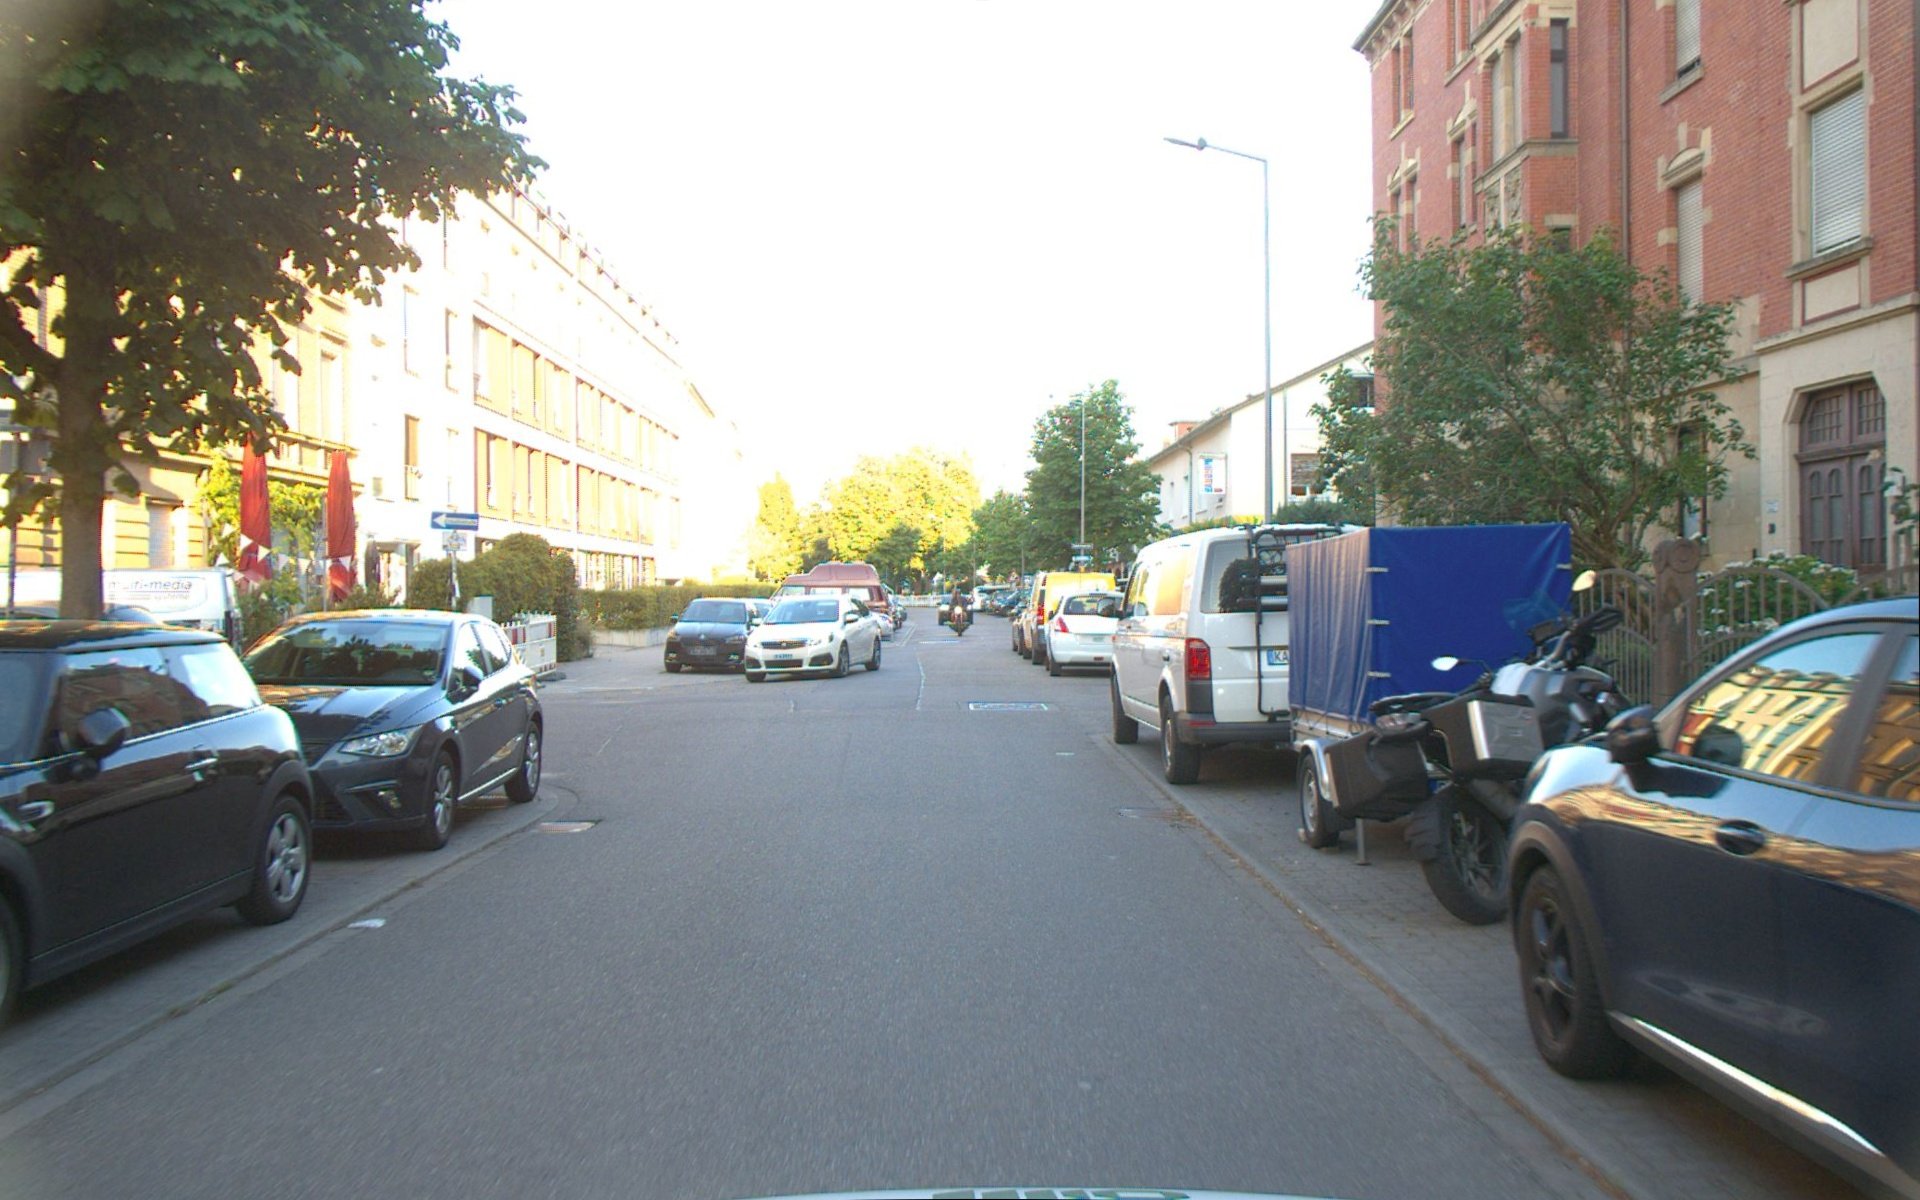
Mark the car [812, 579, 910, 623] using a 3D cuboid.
[{"bbox_3d":[-4.868,0.054,81.824,4.752,2.056,1.906,1,0,-1],"label":"car"}]

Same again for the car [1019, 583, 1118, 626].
[{"bbox_3d":[5.585,0.210,85.653,4.845,1.992,2.048,-2,0,-2],"label":"car"}]

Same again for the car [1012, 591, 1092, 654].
[{"bbox_3d":[2.235,0.520,41.253,1.686,1.449,4.252,1,0,-1],"label":"car"}]

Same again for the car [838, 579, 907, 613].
[{"bbox_3d":[-5.819,-0.270,110.318,4.441,2.171,2.000,1,0,-1],"label":"car"}]

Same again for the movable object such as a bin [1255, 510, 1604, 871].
[{"bbox_3d":[2.761,0.488,10.152,1.383,1.910,2.324,-2,0,-1],"label":"movable object such as a bin"}]

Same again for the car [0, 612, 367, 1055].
[{"bbox_3d":[-4.053,0.800,6.708,1.706,1.445,4.143,0,0,1],"label":"car"}]

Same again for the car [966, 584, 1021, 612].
[{"bbox_3d":[2.504,-0.156,123.640,3.891,1.945,2.047,-2,0,-5],"label":"car"}]

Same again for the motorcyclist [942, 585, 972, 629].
[{"bbox_3d":[-0.096,0.239,59.017,0.870,1.531,0.970,-3,0,9],"label":"motorcyclist"}]

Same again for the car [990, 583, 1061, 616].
[{"bbox_3d":[4.249,-0.046,108.062,4.392,1.945,1.686,-2,0,-6],"label":"car"}]

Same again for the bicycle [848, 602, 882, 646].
[{"bbox_3d":[-2.798,0.698,48.990,0.791,1.243,2.865,1,0,1],"label":"bicycle"}]

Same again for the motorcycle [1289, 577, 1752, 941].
[{"bbox_3d":[2.778,0.684,8.150,2.070,1.508,1.120,-2,0,-35],"label":"motorcycle"}]

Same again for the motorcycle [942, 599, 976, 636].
[{"bbox_3d":[-0.031,0.618,59.340,0.828,1.230,2.076,-3,0,9],"label":"motorcycle"}]

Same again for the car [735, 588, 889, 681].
[{"bbox_3d":[-2.621,0.581,30.502,1.776,1.549,4.602,-1,0,8],"label":"car"}]

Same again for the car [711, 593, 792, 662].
[{"bbox_3d":[-4.908,0.616,39.378,1.618,1.557,4.014,0,0,-3],"label":"car"}]

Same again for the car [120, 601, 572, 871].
[{"bbox_3d":[-3.959,0.766,11.505,1.641,1.487,4.461,0,0,-3],"label":"car"}]

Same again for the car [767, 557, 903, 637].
[{"bbox_3d":[-4.259,-0.100,56.851,4.418,2.629,2.000,1,0,1],"label":"car"}]

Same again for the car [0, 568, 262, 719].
[{"bbox_3d":[-12.676,0.562,23.321,5.208,2.009,2.192,-1,1,-24],"label":"car"}]

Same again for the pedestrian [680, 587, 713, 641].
[{"bbox_3d":[-7.675,0.402,48.152,0.815,1.527,0.798,1,0,0],"label":"pedestrian"}]

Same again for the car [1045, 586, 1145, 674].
[{"bbox_3d":[2.413,0.503,30.321,1.640,1.503,3.862,0,0,2],"label":"car"}]

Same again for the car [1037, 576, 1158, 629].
[{"bbox_3d":[5.830,0.114,70.492,4.888,2.018,2.219,-2,0,0],"label":"car"}]

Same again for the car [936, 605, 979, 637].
[{"bbox_3d":[-0.119,1.095,86.411,1.741,1.544,4.003,-2,0,7],"label":"car"}]

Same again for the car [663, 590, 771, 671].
[{"bbox_3d":[-4.923,0.588,33.916,1.669,1.561,3.844,0,0,-1],"label":"car"}]

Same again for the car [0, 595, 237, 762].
[{"bbox_3d":[-9.281,0.732,16.370,3.435,1.534,1.844,0,1,-2],"label":"car"}]

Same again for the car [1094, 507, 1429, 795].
[{"bbox_3d":[2.475,0.366,15.090,1.824,2.074,5.543,-2,0,-2],"label":"car"}]

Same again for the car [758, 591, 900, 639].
[{"bbox_3d":[-4.268,0.482,54.273,4.524,1.486,1.879,1,0,-4],"label":"car"}]

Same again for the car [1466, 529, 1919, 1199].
[{"bbox_3d":[2.708,0.654,4.079,1.684,1.578,4.326,0,0,1],"label":"car"}]

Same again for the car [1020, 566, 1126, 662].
[{"bbox_3d":[2.370,0.278,35.816,1.855,1.917,5.081,0,0,-1],"label":"car"}]

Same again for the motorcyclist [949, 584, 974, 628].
[{"bbox_3d":[0.051,0.214,59.766,0.770,1.567,0.546,-3,0,9],"label":"motorcyclist"}]
